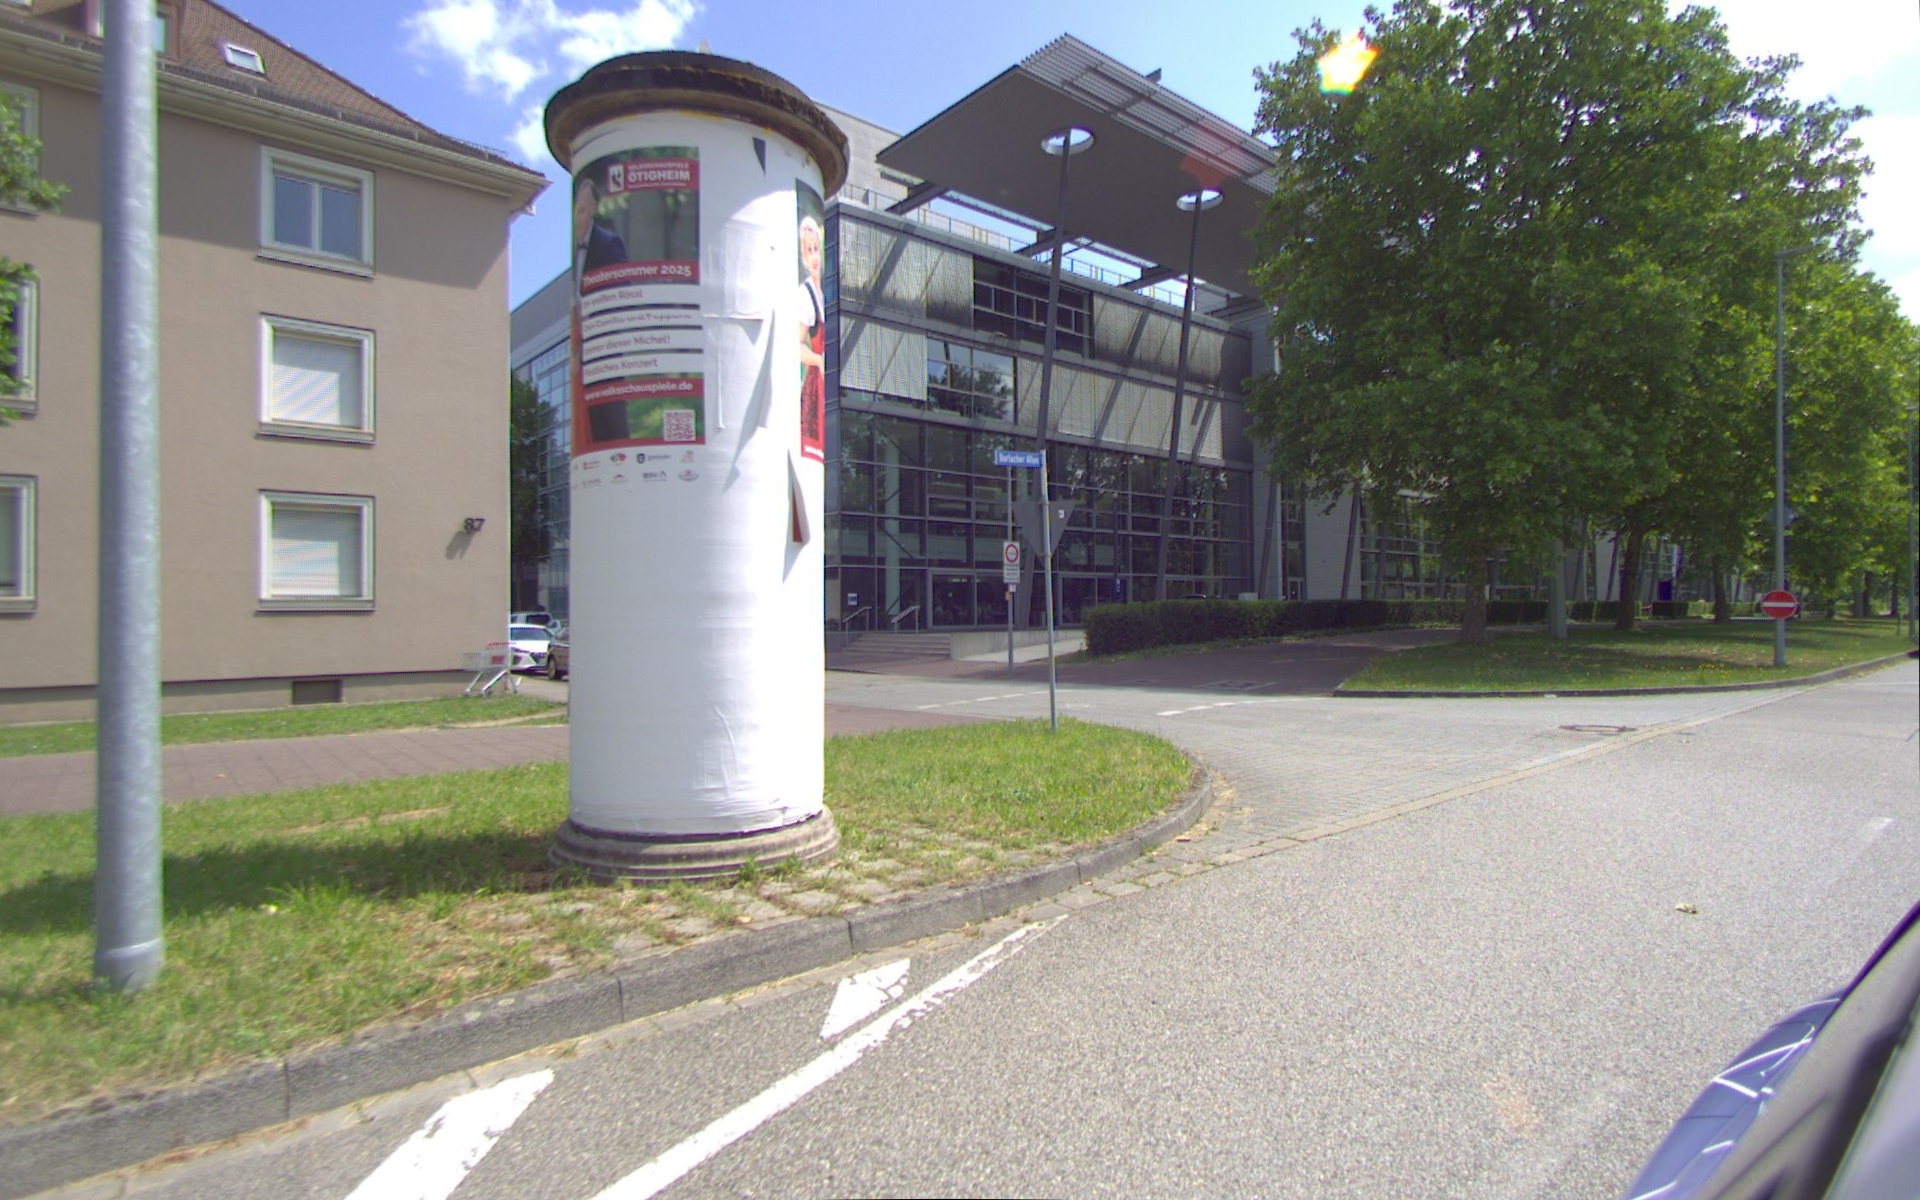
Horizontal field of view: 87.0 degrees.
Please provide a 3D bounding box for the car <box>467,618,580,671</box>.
[{"bbox_3d":[-12.958,1.305,29.917,1.830,1.465,4.306,3,-3,-40],"label":"car"}]

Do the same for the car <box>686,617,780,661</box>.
[{"bbox_3d":[-8.494,1.418,37.671,1.786,1.435,3.995,-5,2,-38],"label":"car"}]

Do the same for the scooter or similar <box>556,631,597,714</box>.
[{"bbox_3d":[-6.563,1.213,17.295,0.536,1.320,1.446,-1,-1,-25],"label":"scooter or similar"}]

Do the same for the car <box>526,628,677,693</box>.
[{"bbox_3d":[-8.867,1.411,24.832,1.966,1.371,4.457,0,-1,-42],"label":"car"}]

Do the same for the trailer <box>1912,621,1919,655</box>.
[{"bbox_3d":[28.487,0.969,28.087,6.700,0.838,2.301,-1,0,-40],"label":"trailer"}]

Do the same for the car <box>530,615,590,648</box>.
[{"bbox_3d":[-20.875,1.634,52.751,1.786,1.567,3.995,-3,0,-38],"label":"car"}]

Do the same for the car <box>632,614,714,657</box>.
[{"bbox_3d":[-11.843,1.426,41.660,1.786,1.567,3.995,-5,2,-38],"label":"car"}]

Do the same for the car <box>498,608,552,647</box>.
[{"bbox_3d":[-24.530,1.531,56.981,1.785,2.108,3.995,-2,0,-38],"label":"car"}]
